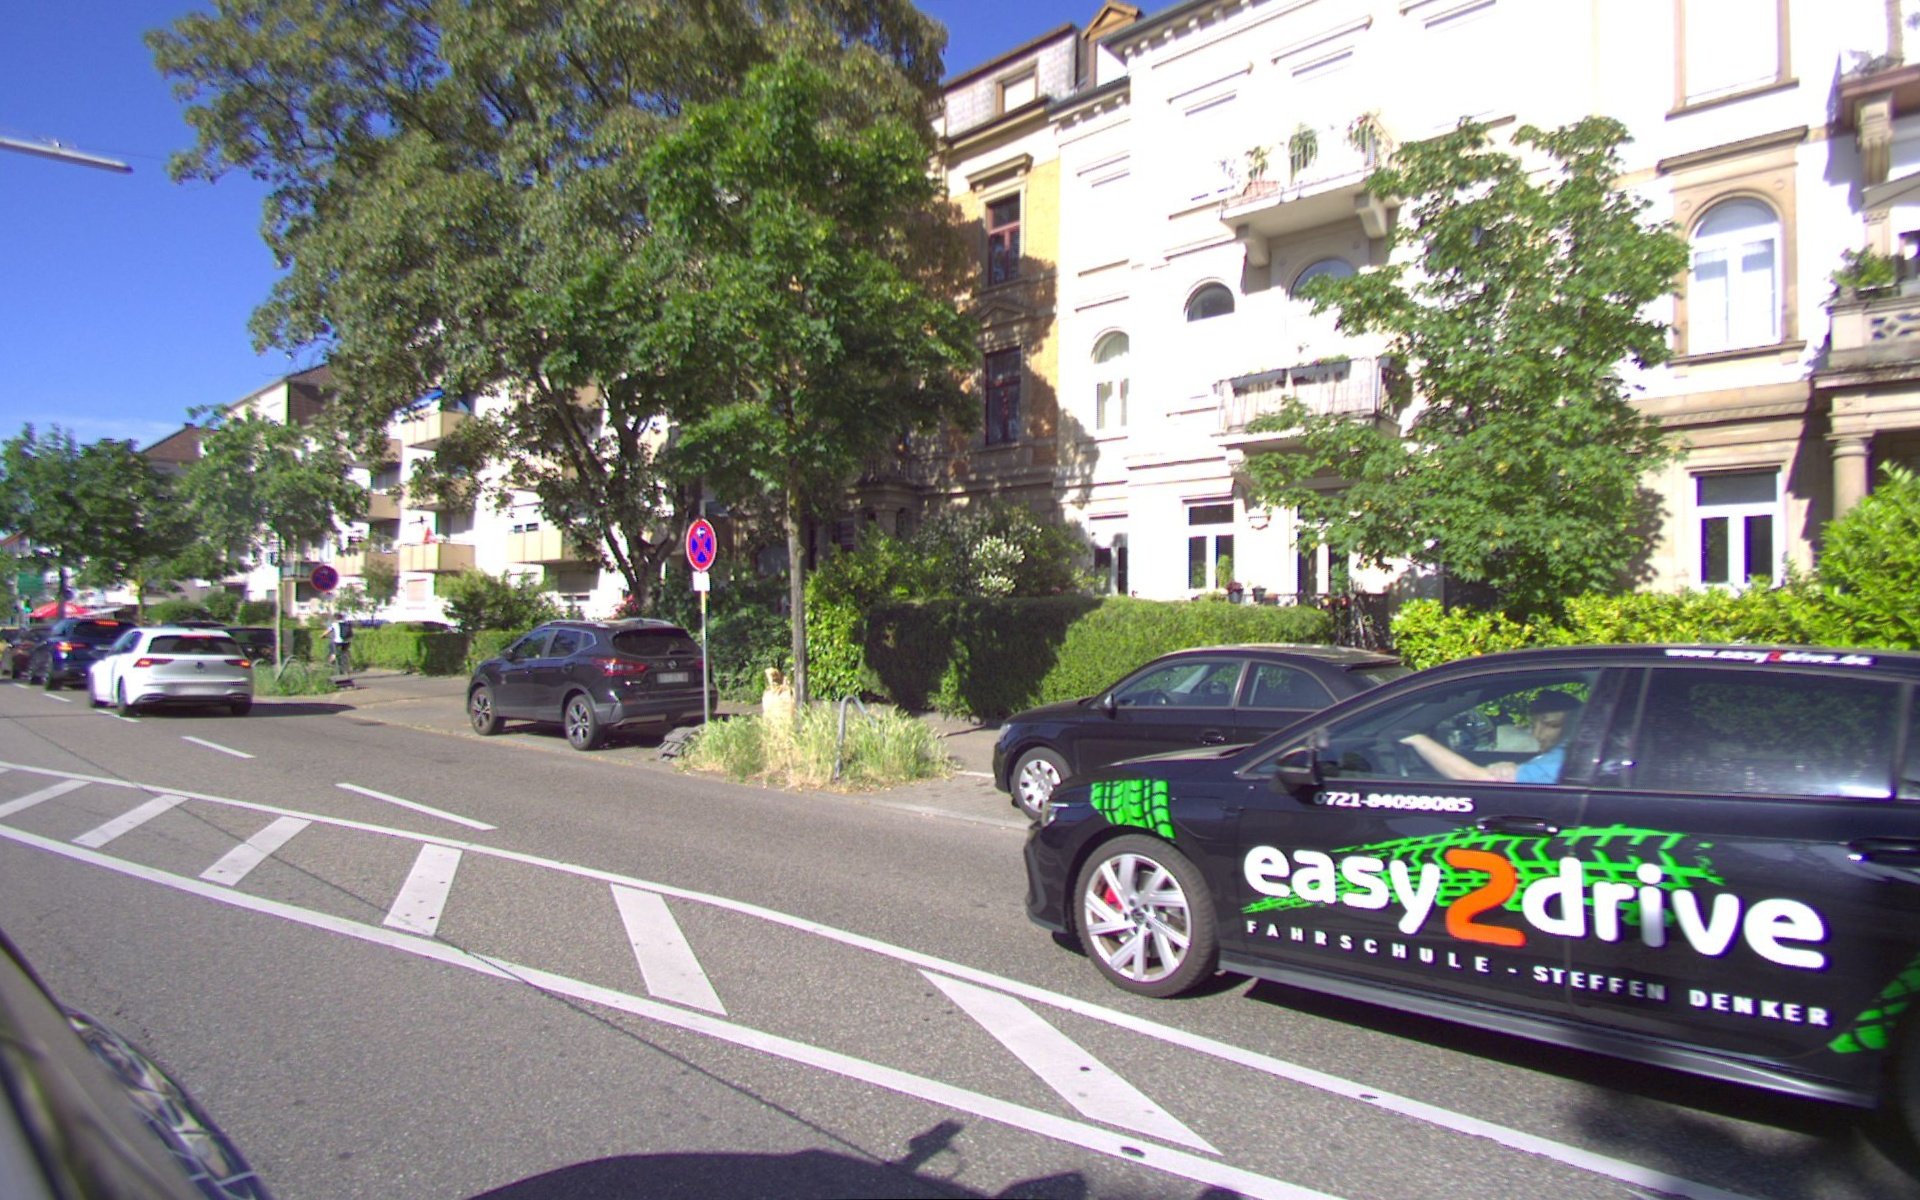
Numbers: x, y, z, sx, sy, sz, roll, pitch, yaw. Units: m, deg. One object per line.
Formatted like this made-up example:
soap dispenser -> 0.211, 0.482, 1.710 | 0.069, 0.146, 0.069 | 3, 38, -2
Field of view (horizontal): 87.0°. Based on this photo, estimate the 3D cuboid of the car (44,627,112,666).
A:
car -> -36.327, 1.884, 41.651 | 3.892, 1.487, 1.489 | -2, -2, 39

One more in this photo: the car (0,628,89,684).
car -> -25.936, 1.536, 28.413 | 3.740, 1.463, 1.565 | -1, -3, 39

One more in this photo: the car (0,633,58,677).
car -> -31.751, 1.815, 33.955 | 3.732, 1.414, 1.618 | -1, -4, 40

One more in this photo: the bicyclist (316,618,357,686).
bicyclist -> -16.724, 1.382, 27.149 | 1.207, 1.780, 0.576 | -2, 0, 41

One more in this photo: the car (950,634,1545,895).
car -> 1.994, 1.008, 7.777 | 4.088, 1.427, 1.620 | -1, 0, 41

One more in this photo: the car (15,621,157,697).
car -> -20.616, 1.355, 23.808 | 4.398, 1.626, 1.817 | -1, -5, 41

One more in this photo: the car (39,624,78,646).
car -> -69.357, 2.670, 77.841 | 4.303, 1.635, 1.742 | -1, -3, 42

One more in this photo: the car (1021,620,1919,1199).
car -> 2.394, 0.850, 3.605 | 4.170, 1.465, 1.674 | -1, -5, 40

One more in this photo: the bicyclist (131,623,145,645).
bicyclist -> -61.796, 2.565, 76.062 | 0.578, 1.619, 0.677 | -1, -2, 39

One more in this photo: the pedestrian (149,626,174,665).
pedestrian -> -34.859, 1.977, 44.165 | 0.929, 1.699, 0.662 | -2, -2, 40

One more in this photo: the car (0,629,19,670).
car -> -37.635, 1.857, 38.899 | 4.074, 1.529, 1.638 | -1, -5, 41

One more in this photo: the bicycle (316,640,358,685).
bicycle -> -16.734, 1.663, 27.160 | 1.763, 1.124, 0.444 | -2, 0, 41

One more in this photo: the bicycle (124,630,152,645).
bicycle -> -61.796, 2.835, 76.081 | 0.449, 1.085, 1.545 | -1, -2, 39

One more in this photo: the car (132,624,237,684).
car -> -22.801, 1.518, 29.701 | 4.392, 1.617, 1.652 | -1, -1, 42

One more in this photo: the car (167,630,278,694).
car -> -18.961, 1.525, 25.975 | 3.931, 1.488, 1.584 | -1, -1, 43

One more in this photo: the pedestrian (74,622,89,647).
pedestrian -> -60.834, 2.378, 70.077 | 0.682, 1.671, 0.650 | -1, -3, 42

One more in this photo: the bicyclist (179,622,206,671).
bicyclist -> -28.035, 1.680, 36.964 | 0.691, 1.767, 0.602 | -1, -3, 41

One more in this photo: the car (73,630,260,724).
car -> -13.689, 1.263, 17.376 | 4.190, 1.423, 1.715 | -1, -5, 41

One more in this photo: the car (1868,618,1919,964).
car -> 6.291, 0.841, 3.979 | 4.007, 1.566, 1.660 | -2, -2, 42

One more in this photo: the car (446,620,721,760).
car -> -5.247, 1.098, 13.820 | 4.345, 1.600, 1.608 | -1, -1, 40

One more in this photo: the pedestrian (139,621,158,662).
pedestrian -> -32.934, 1.671, 41.063 | 0.719, 1.663, 0.464 | -1, -2, 42
